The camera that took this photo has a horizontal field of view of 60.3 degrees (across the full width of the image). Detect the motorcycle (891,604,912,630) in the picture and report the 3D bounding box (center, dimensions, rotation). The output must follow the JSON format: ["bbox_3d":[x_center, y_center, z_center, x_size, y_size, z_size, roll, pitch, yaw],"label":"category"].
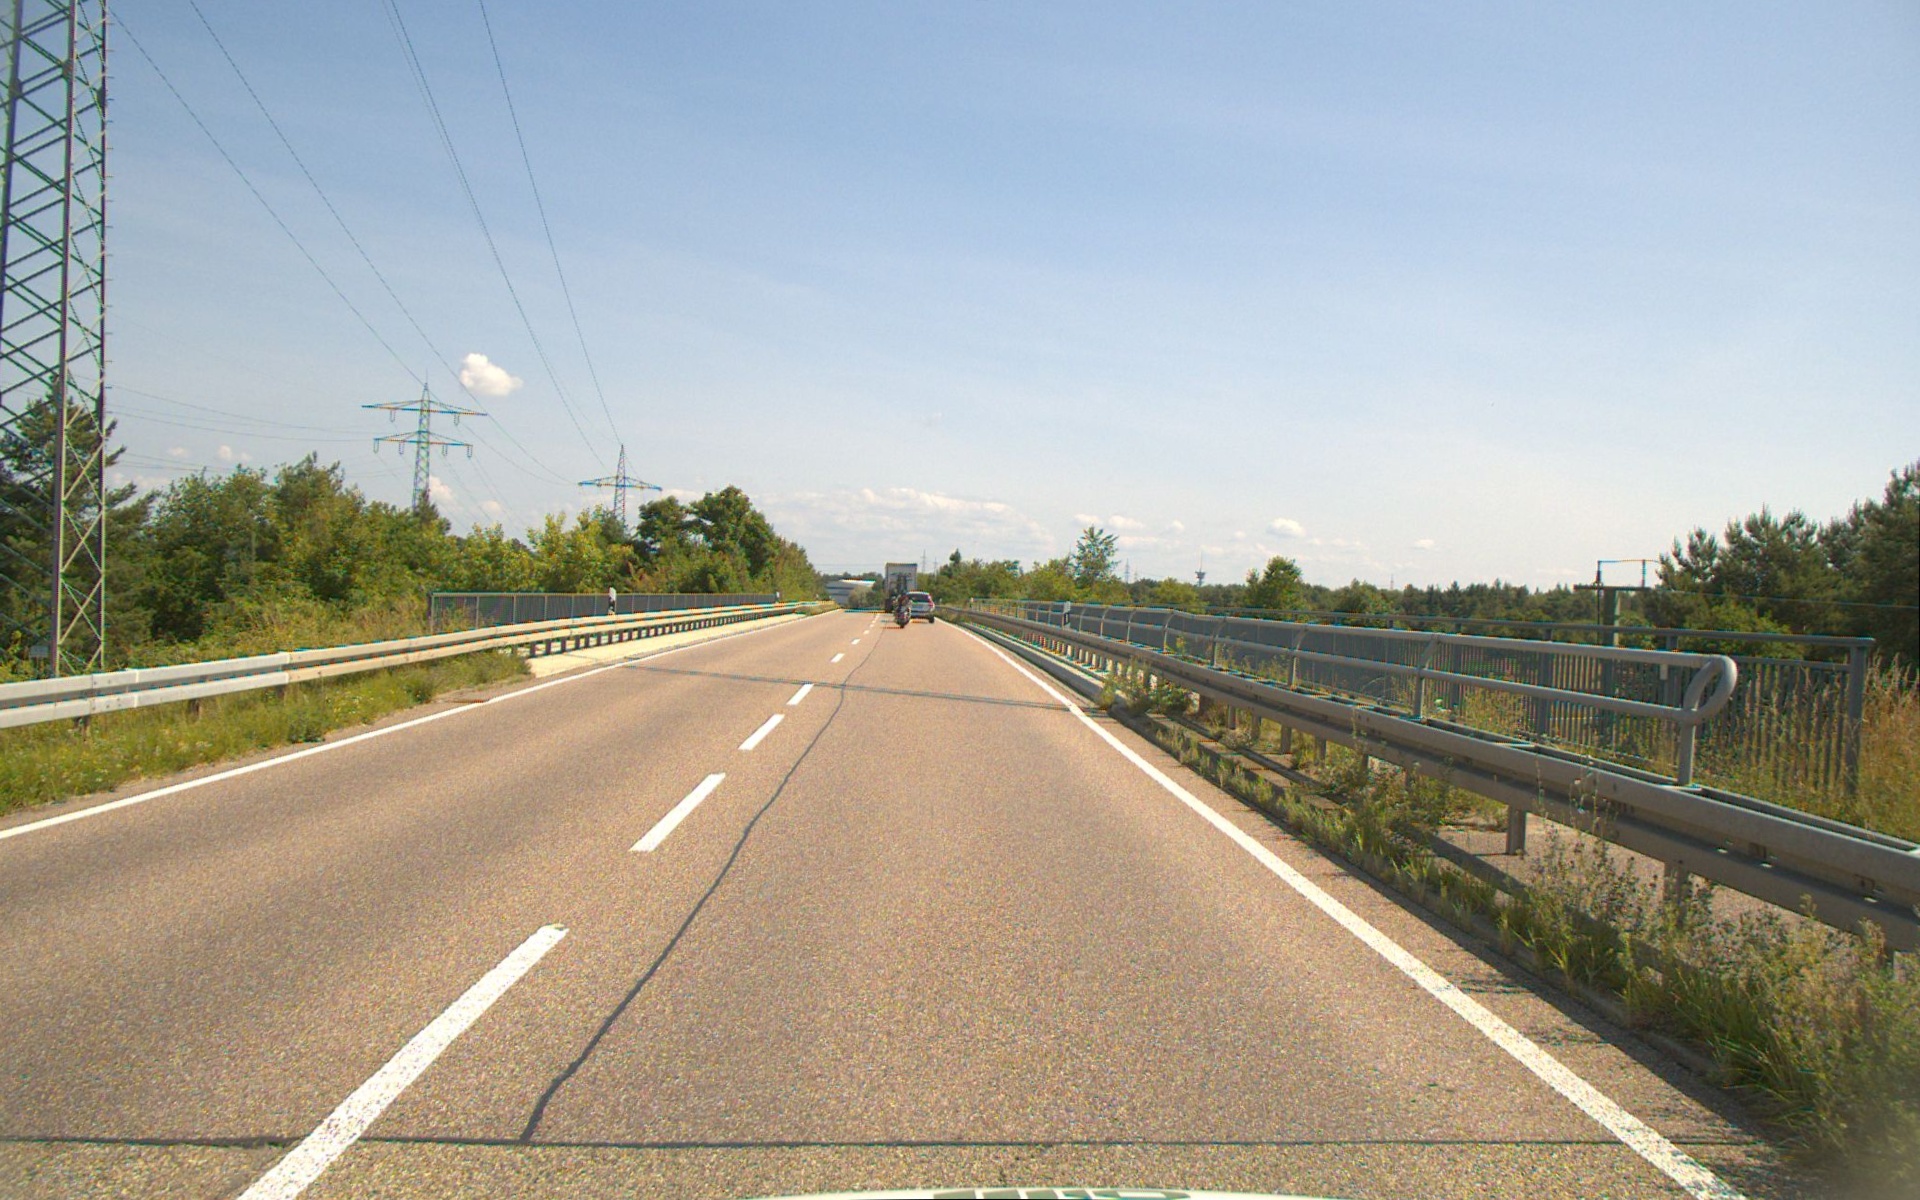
[{"bbox_3d":[-2.399,0.695,67.824,0.764,0.992,2.361,1,1,0],"label":"motorcycle"}]

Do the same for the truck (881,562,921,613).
[{"bbox_3d":[-4.960,-1.048,140.104,3.176,4.048,9.441,1,0,-1],"label":"truck"}]

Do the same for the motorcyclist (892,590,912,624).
[{"bbox_3d":[-2.379,0.297,67.840,0.764,1.348,0.813,1,1,-1],"label":"motorcyclist"}]

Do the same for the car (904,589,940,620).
[{"bbox_3d":[-1.971,0.228,85.779,1.788,1.476,4.000,1,1,-1],"label":"car"}]
